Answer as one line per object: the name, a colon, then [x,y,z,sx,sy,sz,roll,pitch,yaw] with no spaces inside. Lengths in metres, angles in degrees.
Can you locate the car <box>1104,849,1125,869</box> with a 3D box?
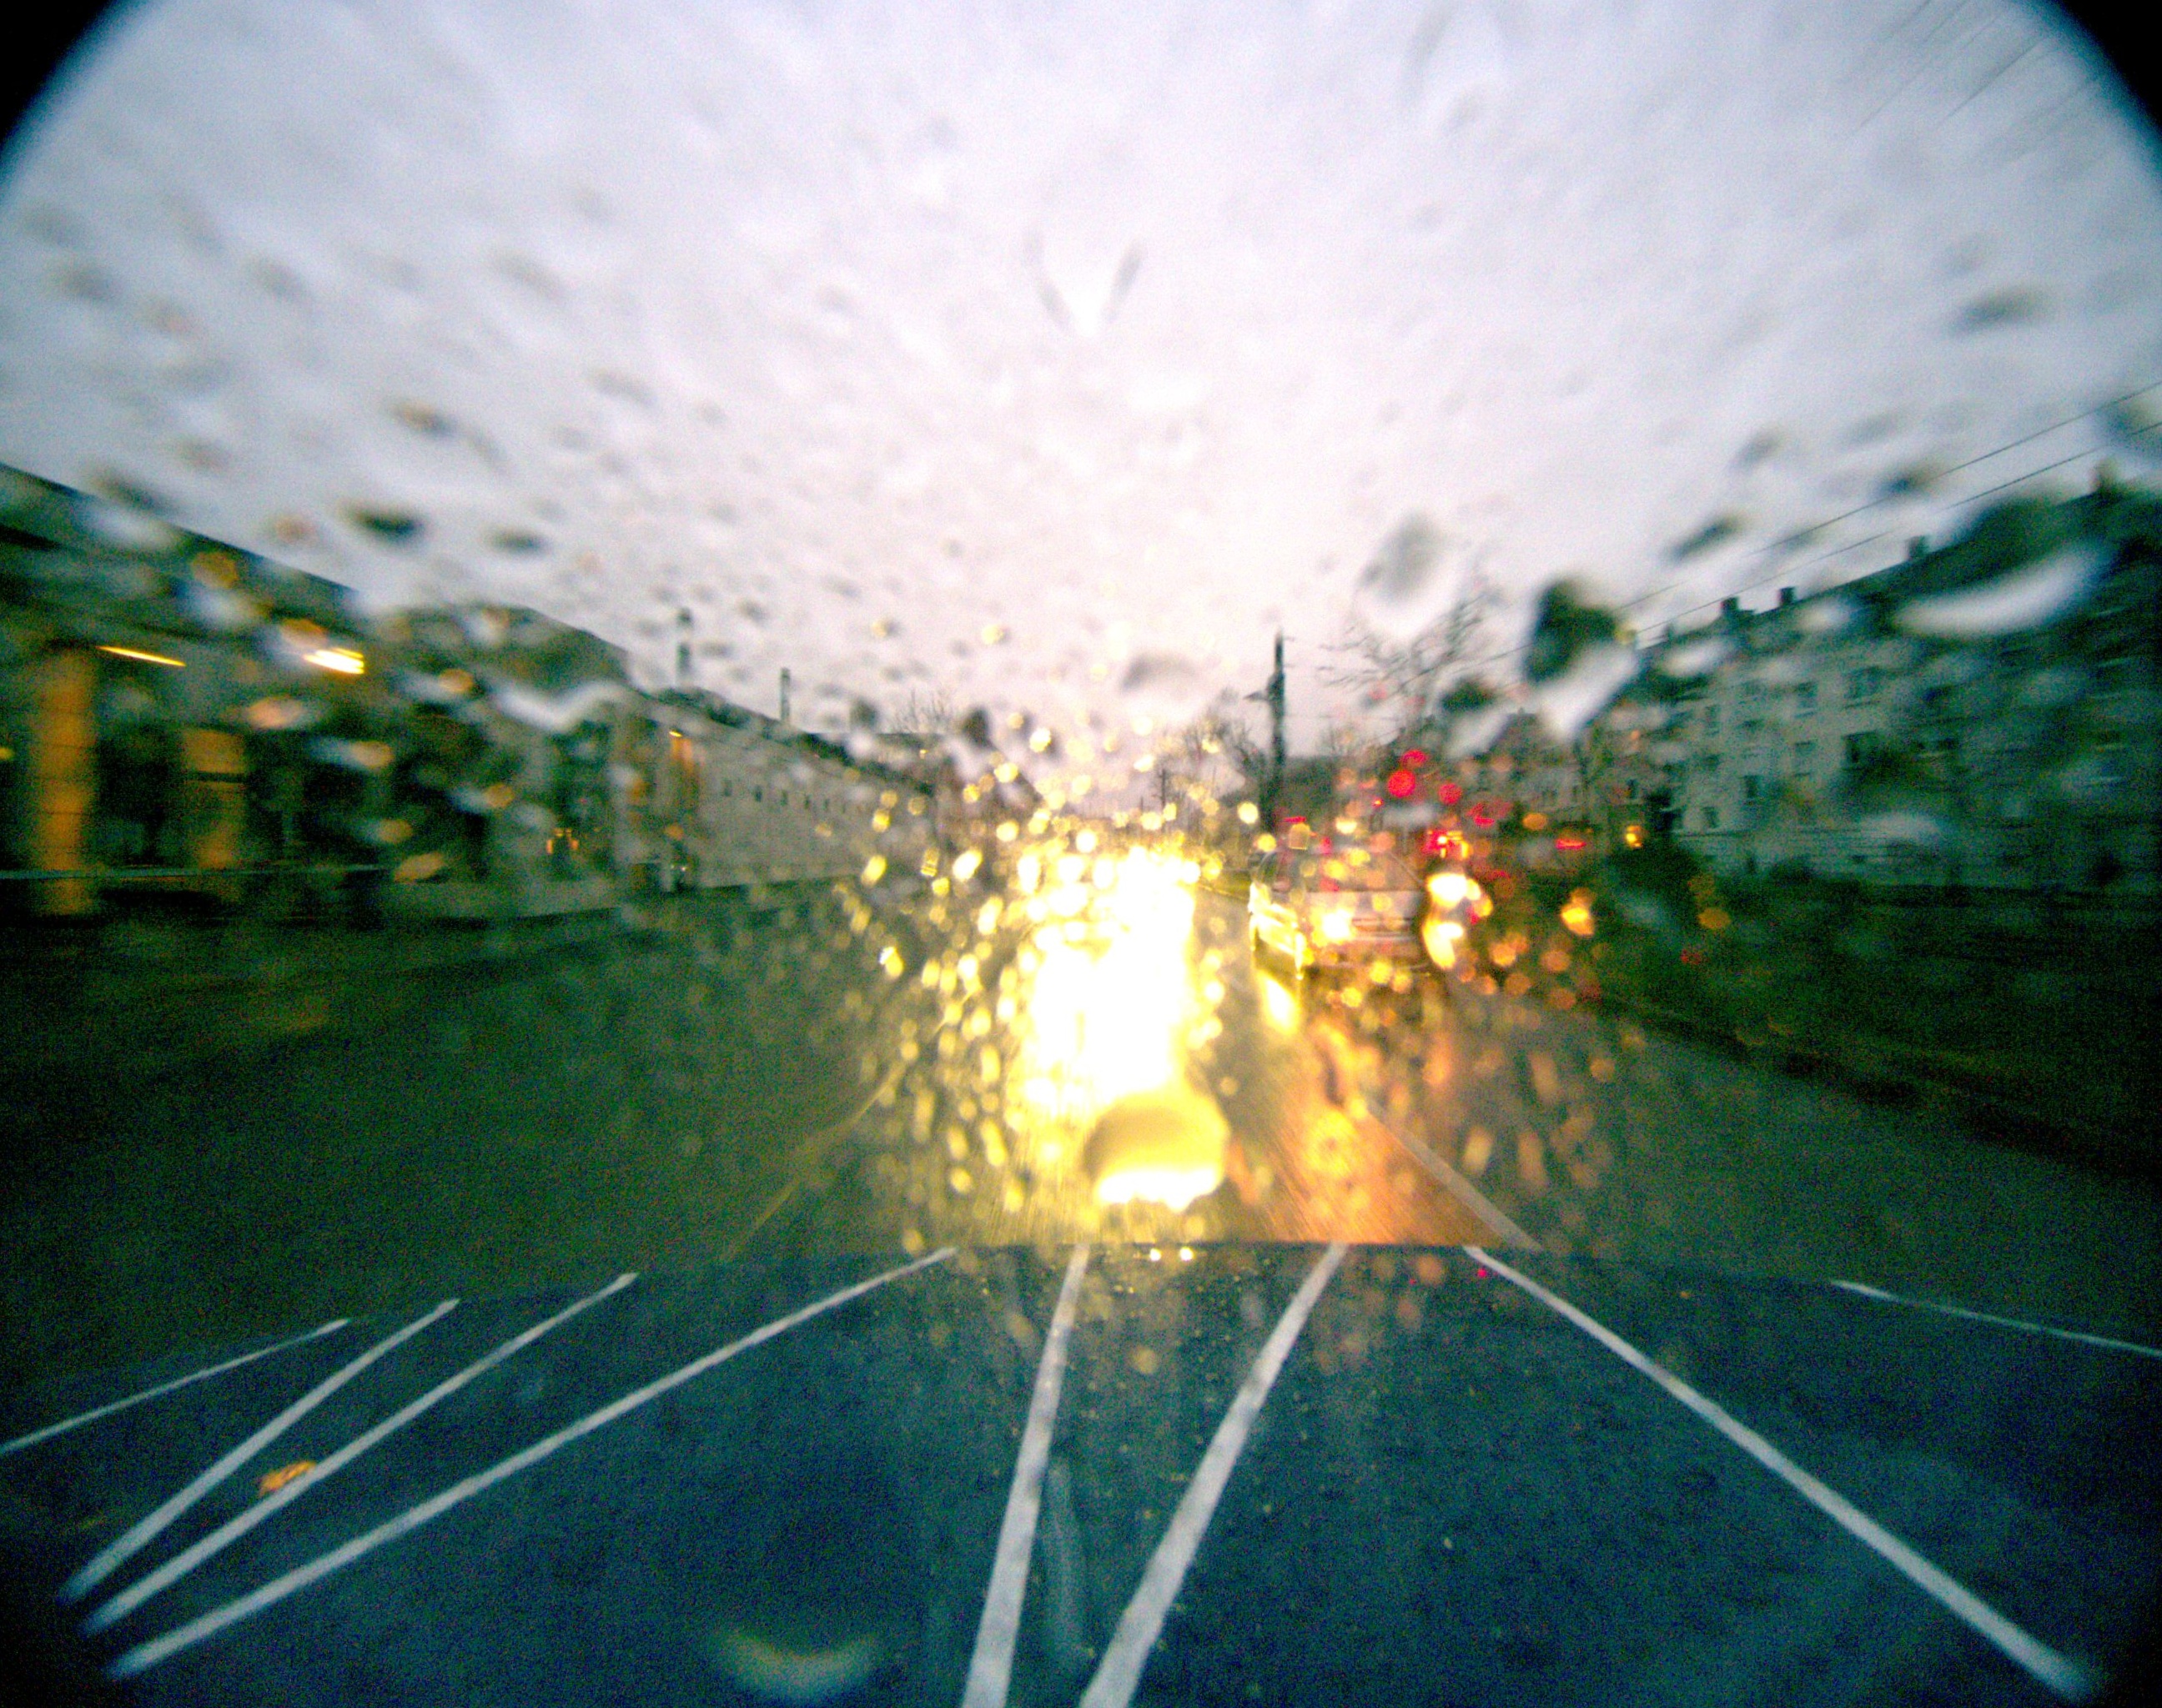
car: [3.137,0.451,71.543,1.802,1.674,3.805,-2,1,1]

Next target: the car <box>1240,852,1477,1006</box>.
car: [3.273,0.775,9.792,1.638,1.511,3.907,-2,1,1]

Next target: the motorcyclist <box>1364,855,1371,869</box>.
motorcyclist: [21.449,0.602,56.959,0.415,1.055,0.345,-2,1,8]

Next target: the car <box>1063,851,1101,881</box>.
car: [0.095,0.569,37.587,1.736,1.311,3.803,-2,1,1]

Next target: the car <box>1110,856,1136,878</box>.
car: [2.815,0.835,51.348,1.538,1.347,3.546,-2,1,1]

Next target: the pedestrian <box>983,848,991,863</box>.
pedestrian: [-10.190,0.189,82.428,0.674,1.639,0.769,2,1,1]

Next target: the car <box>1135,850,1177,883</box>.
car: [3.713,0.605,38.234,1.905,1.475,3.656,-2,1,3]

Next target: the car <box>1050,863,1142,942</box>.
car: [0.308,0.921,15.911,1.669,1.325,3.786,-2,1,1]

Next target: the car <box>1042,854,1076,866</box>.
car: [-2.214,0.600,76.493,3.327,1.131,1.254,-2,1,0]

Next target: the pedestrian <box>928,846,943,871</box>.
pedestrian: [-9.845,0.308,51.449,0.814,1.621,0.883,2,1,1]

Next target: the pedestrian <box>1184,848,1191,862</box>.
pedestrian: [9.214,0.093,65.834,0.562,1.150,0.582,-2,1,3]

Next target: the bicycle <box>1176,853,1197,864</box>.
bicycle: [9.158,0.360,65.862,1.725,0.893,0.733,2,2,1]

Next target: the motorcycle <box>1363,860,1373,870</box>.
motorcycle: [21.441,0.817,56.846,0.422,0.679,1.176,-2,1,8]
